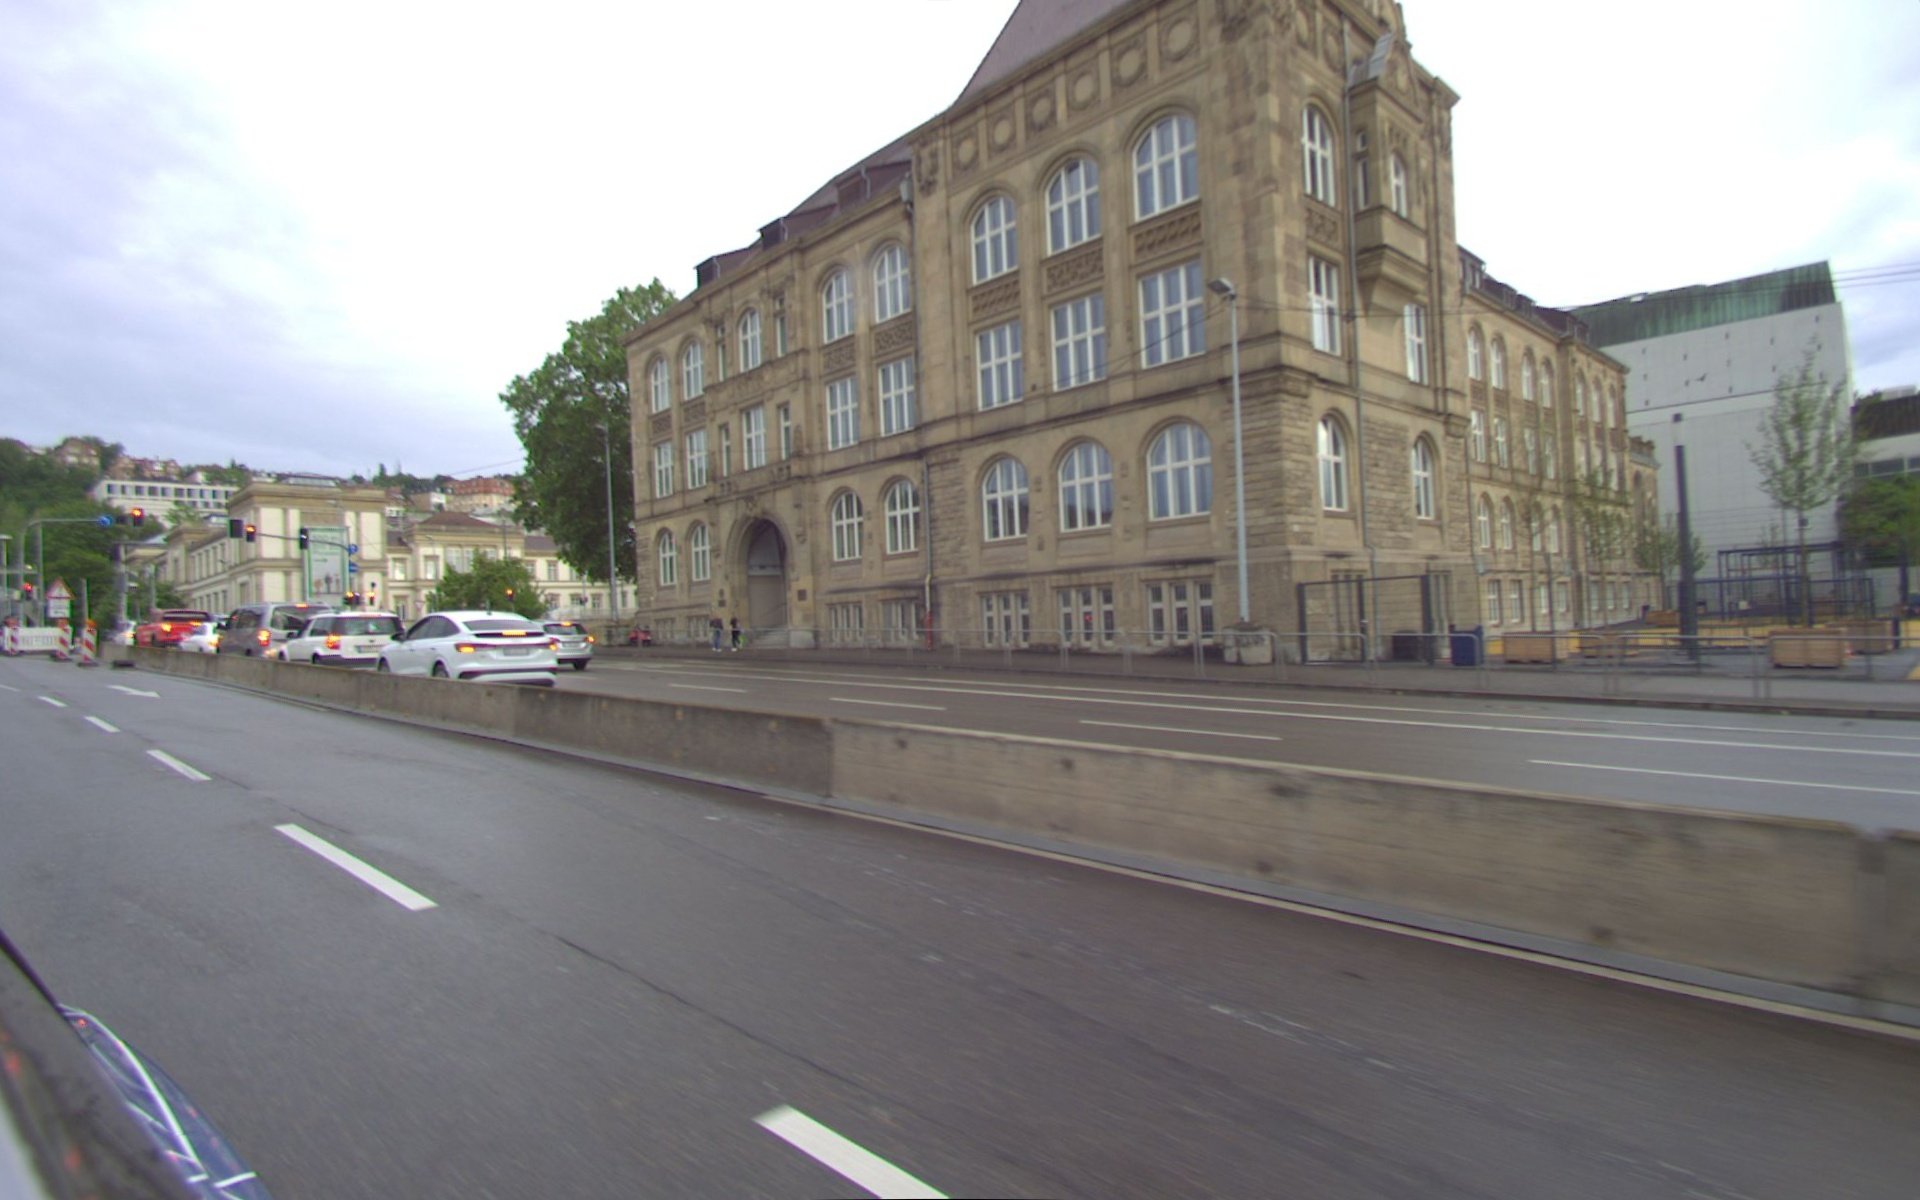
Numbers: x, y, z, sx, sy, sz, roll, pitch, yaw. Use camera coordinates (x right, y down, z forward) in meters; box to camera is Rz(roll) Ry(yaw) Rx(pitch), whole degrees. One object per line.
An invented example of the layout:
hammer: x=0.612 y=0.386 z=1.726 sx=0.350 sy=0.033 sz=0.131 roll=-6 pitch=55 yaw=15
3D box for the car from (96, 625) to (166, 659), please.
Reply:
car: x=-38.495 y=1.931 z=46.951 sx=4.347 sy=1.482 sz=1.971 roll=-2 pitch=-3 yaw=43

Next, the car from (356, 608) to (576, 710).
car: x=-8.914 y=0.989 z=18.054 sx=4.898 sy=1.579 sz=1.873 roll=-2 pitch=-3 yaw=43

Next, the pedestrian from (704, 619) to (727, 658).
pedestrian: x=-10.050 y=1.589 z=41.576 sx=0.735 sy=1.596 sz=0.609 roll=-2 pitch=-3 yaw=45

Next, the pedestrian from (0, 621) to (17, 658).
pedestrian: x=-43.890 y=1.806 z=46.338 sx=0.756 sy=1.723 sz=0.778 roll=-1 pitch=-2 yaw=21

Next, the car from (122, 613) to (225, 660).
car: x=-28.503 y=1.306 z=36.630 sx=5.380 sy=1.579 sz=1.972 roll=-2 pitch=-2 yaw=42

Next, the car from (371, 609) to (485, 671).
car: x=-18.527 y=1.363 z=35.191 sx=3.992 sy=2.029 sz=1.975 roll=-1 pitch=-2 yaw=36

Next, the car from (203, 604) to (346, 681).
car: x=-18.669 y=1.123 z=27.442 sx=5.595 sy=1.880 sz=1.972 roll=-2 pitch=-3 yaw=43

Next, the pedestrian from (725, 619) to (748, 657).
pedestrian: x=-9.317 y=1.581 z=42.152 sx=0.733 sy=1.596 sz=0.610 roll=-2 pitch=-2 yaw=37

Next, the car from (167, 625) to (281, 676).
car: x=-23.691 y=1.581 z=32.497 sx=4.820 sy=1.513 sz=1.972 roll=-2 pitch=-2 yaw=42

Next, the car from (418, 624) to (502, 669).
car: x=-23.812 y=2.193 z=48.143 sx=3.992 sy=2.029 sz=1.975 roll=-1 pitch=-2 yaw=36

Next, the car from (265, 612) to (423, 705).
car: x=-13.919 y=1.258 z=22.775 sx=4.378 sy=1.880 sz=1.888 roll=-2 pitch=-3 yaw=43

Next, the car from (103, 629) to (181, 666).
car: x=-34.842 y=1.987 z=43.074 sx=4.561 sy=1.482 sz=1.971 roll=-2 pitch=-3 yaw=43

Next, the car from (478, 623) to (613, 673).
car: x=-12.435 y=1.410 z=30.261 sx=4.207 sy=1.393 sz=1.974 roll=-2 pitch=-2 yaw=39

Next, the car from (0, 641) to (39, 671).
car: x=-52.975 y=3.042 z=55.014 sx=1.885 sy=1.630 sz=4.060 roll=-2 pitch=-2 yaw=37

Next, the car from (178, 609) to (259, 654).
car: x=-31.586 y=1.358 z=43.067 sx=4.615 sy=1.808 sz=1.971 roll=-2 pitch=-3 yaw=43
